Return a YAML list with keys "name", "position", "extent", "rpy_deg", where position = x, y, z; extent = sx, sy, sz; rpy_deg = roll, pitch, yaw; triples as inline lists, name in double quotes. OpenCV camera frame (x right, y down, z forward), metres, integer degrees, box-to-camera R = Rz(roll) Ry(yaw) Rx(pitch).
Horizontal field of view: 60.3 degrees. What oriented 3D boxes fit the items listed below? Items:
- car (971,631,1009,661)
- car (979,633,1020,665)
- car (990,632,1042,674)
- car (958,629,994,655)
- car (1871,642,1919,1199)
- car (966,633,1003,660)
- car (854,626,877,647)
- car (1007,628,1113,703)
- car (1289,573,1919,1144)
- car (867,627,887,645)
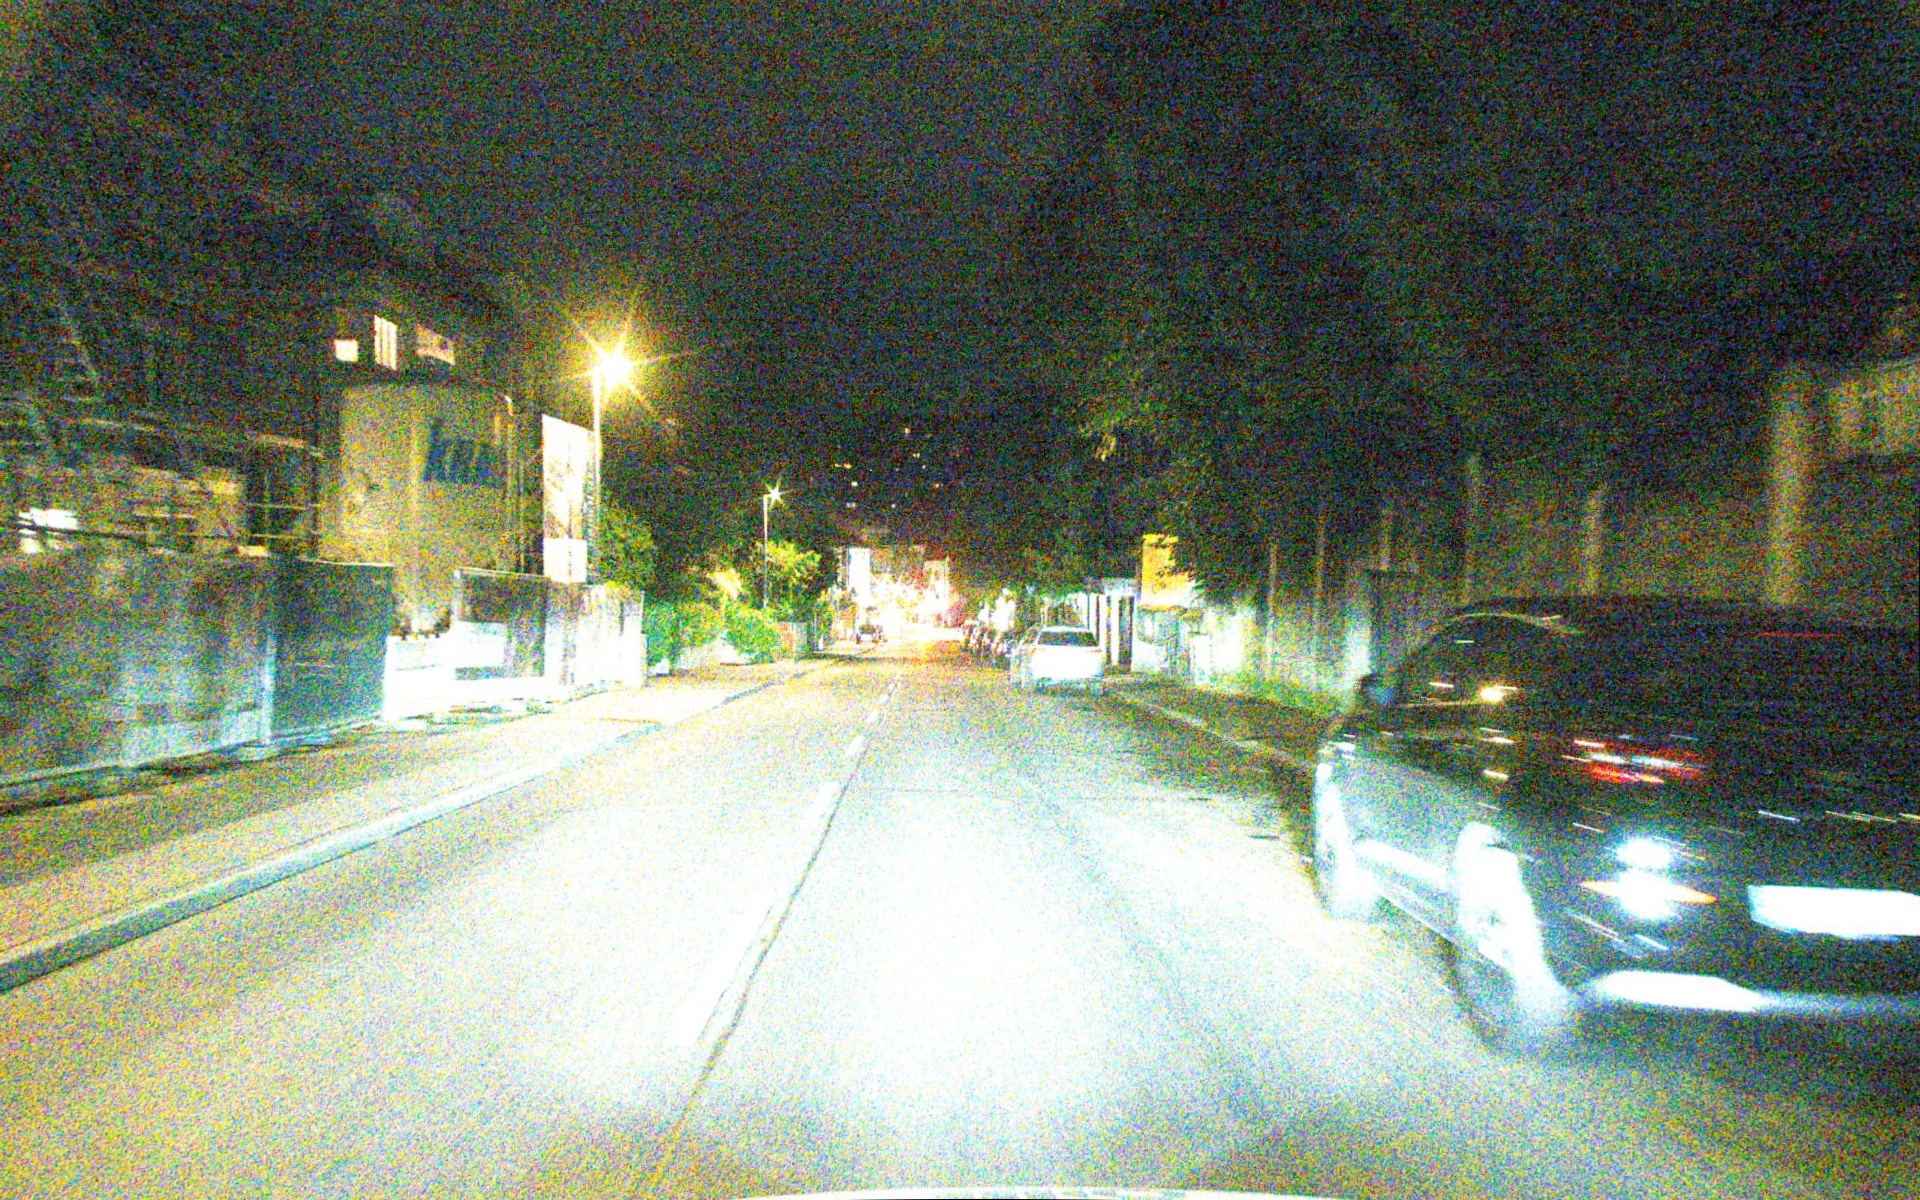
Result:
- name: "car"
  position: [1.519, 2.340, 84.594]
  extent: [1.649, 1.474, 3.997]
  rpy_deg: [1, -1, -3]
- name: "car"
  position: [1.916, 2.356, 79.753]
  extent: [1.829, 1.427, 4.001]
  rpy_deg: [1, -1, 3]
- name: "car"
  position: [2.016, 1.901, 60.173]
  extent: [1.597, 1.464, 3.862]
  rpy_deg: [1, -1, -2]
- name: "car"
  position: [0.939, 2.536, 99.830]
  extent: [1.650, 1.474, 3.993]
  rpy_deg: [1, -1, -7]
- name: "car"
  position: [2.971, 0.871, 1.631]
  extent: [1.708, 1.496, 4.255]
  rpy_deg: [2, 0, -1]
- name: "car"
  position: [1.371, 2.653, 95.192]
  extent: [1.650, 1.474, 3.994]
  rpy_deg: [1, -1, -6]
- name: "car"
  position: [-7.242, 2.796, 126.436]
  extent: [1.718, 1.566, 3.727]
  rpy_deg: [0, -1, -4]
- name: "car"
  position: [2.158, 1.418, 36.828]
  extent: [1.728, 1.501, 4.271]
  rpy_deg: [2, -1, -5]
- name: "car"
  position: [2.763, 0.806, 7.252]
  extent: [1.794, 1.693, 4.619]
  rpy_deg: [0, -1, 1]
- name: "car"
  position: [-7.219, 3.132, 143.555]
  extent: [1.718, 1.566, 3.729]
  rpy_deg: [0, -1, -2]
